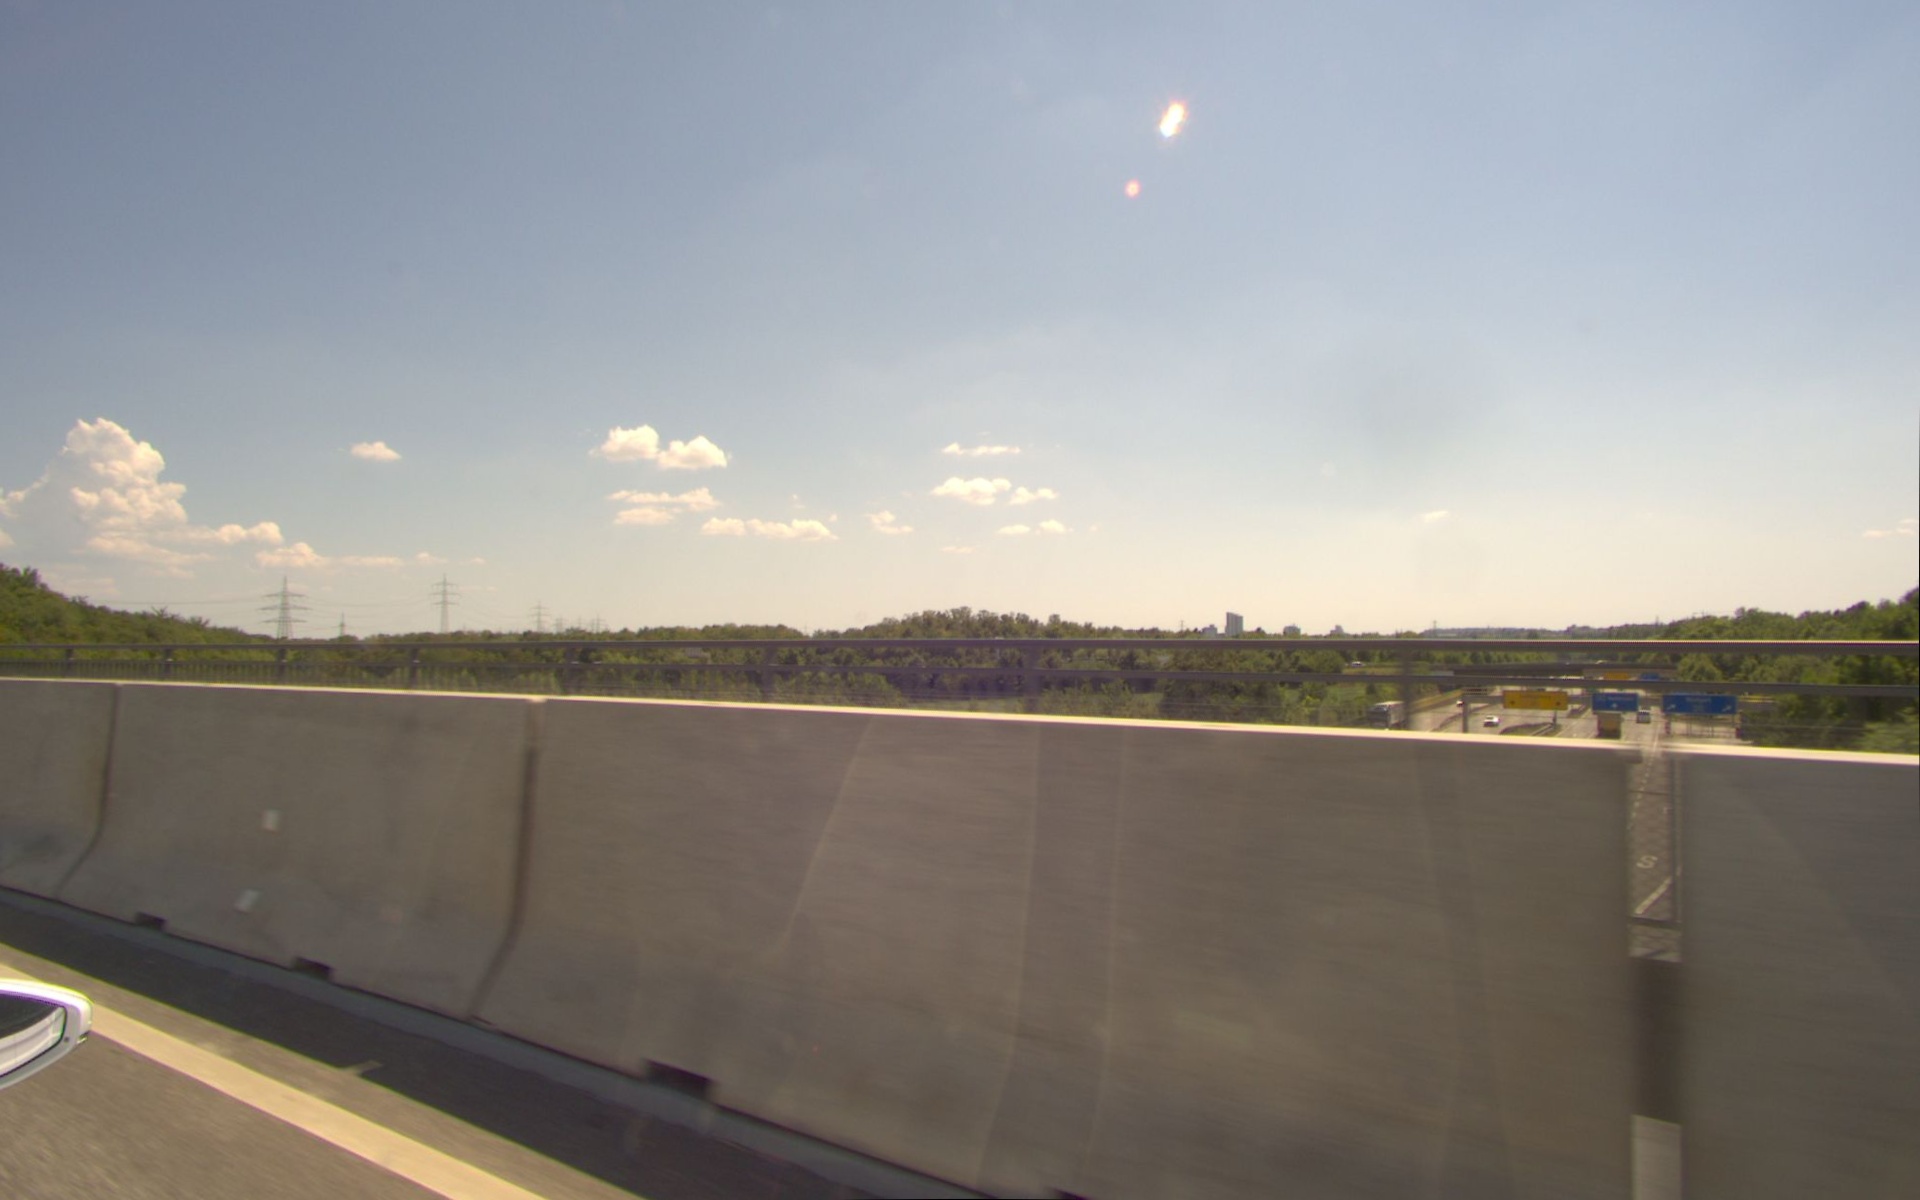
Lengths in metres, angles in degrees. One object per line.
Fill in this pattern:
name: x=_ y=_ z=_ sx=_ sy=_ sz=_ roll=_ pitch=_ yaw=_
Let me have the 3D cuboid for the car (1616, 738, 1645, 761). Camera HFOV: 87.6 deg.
car: x=66.540 y=14.811 z=99.344 sx=2.324 sy=2.037 sz=4.742 roll=-1 pitch=-6 yaw=34

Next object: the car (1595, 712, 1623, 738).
car: x=84.536 y=16.200 z=130.354 sx=2.884 sy=3.115 sz=7.343 roll=-1 pitch=-6 yaw=34

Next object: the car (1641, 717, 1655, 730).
car: x=108.914 y=19.487 z=158.469 sx=1.656 sy=1.896 sz=3.980 roll=-1 pitch=-6 yaw=35

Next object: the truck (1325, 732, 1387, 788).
truck: x=33.144 y=13.222 z=83.583 sx=2.740 sy=4.087 sz=9.309 roll=-2 pitch=-6 yaw=35
